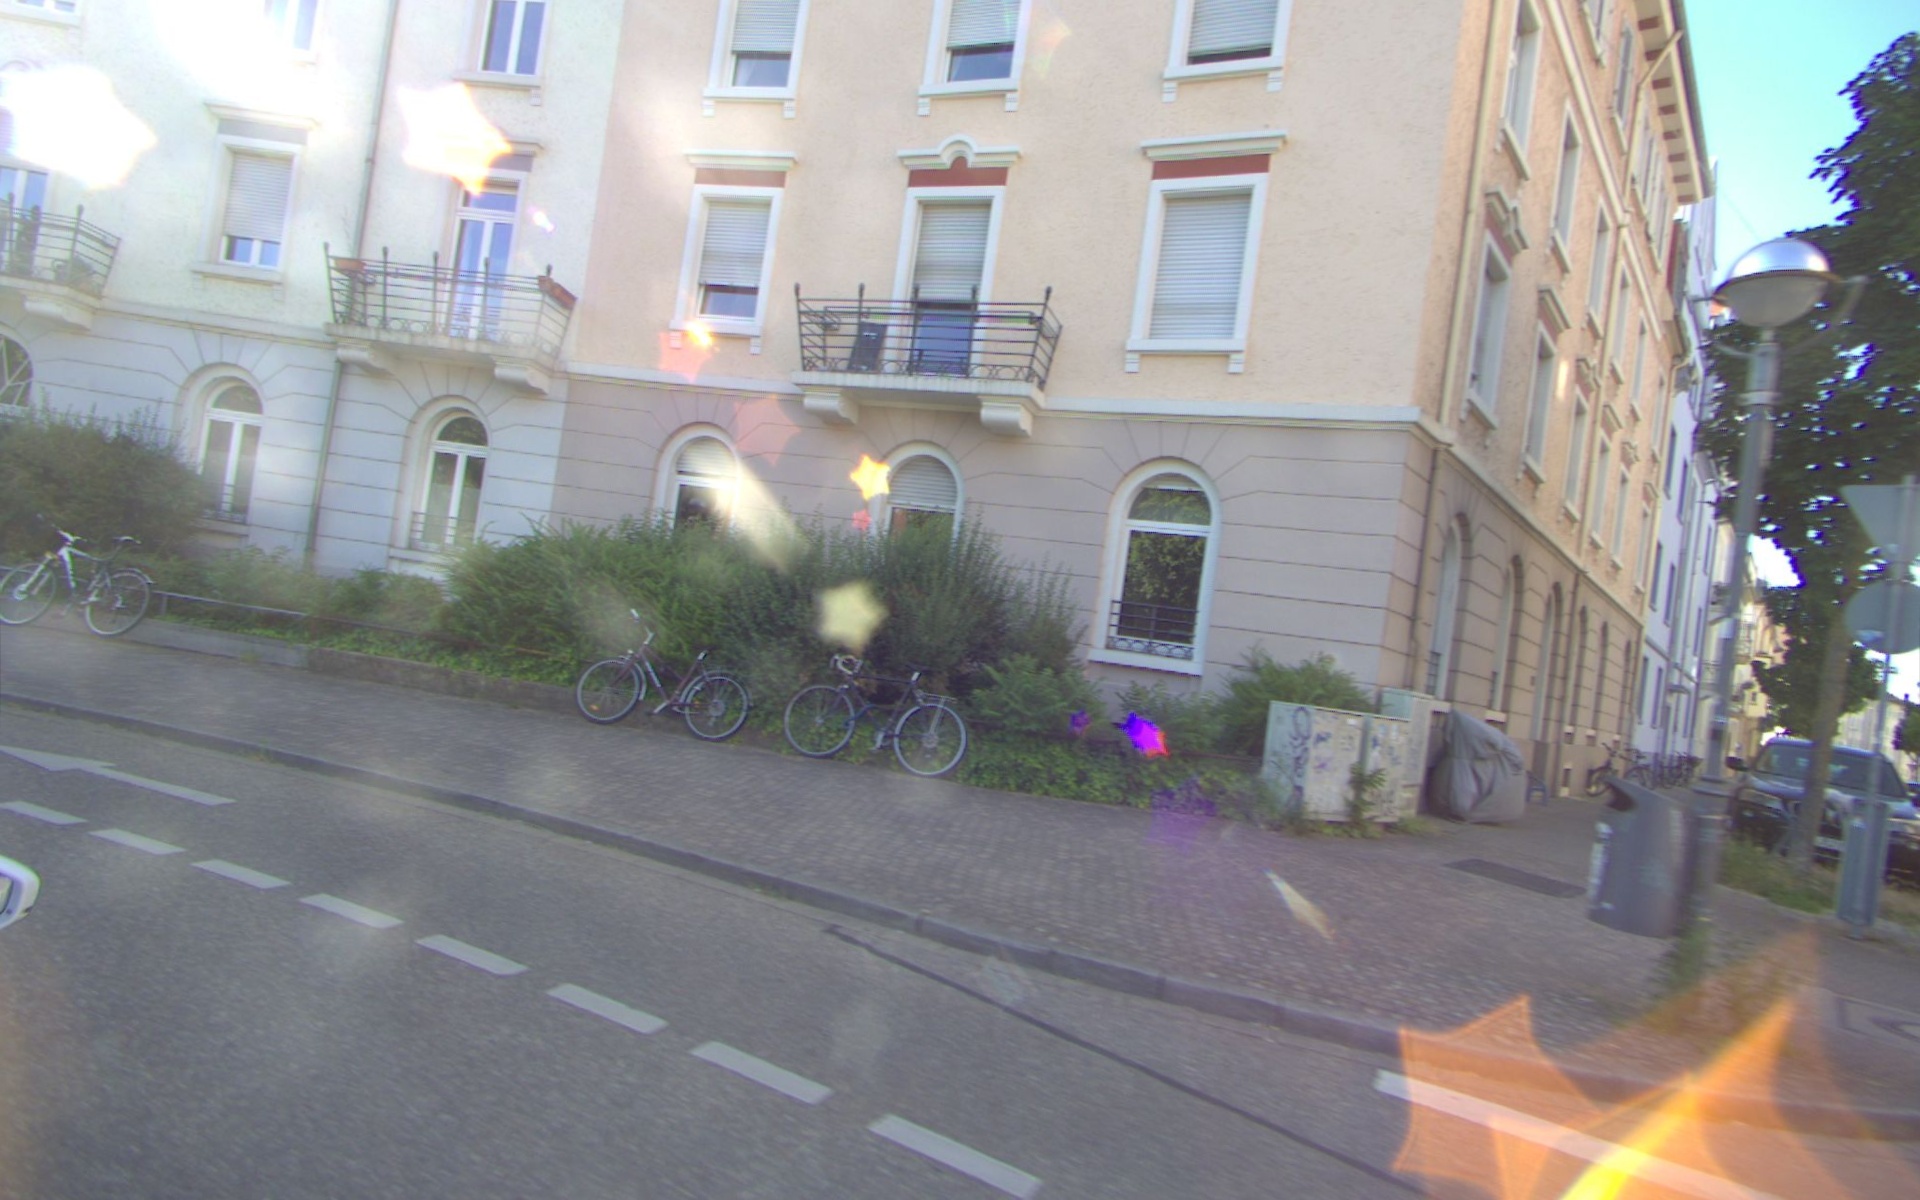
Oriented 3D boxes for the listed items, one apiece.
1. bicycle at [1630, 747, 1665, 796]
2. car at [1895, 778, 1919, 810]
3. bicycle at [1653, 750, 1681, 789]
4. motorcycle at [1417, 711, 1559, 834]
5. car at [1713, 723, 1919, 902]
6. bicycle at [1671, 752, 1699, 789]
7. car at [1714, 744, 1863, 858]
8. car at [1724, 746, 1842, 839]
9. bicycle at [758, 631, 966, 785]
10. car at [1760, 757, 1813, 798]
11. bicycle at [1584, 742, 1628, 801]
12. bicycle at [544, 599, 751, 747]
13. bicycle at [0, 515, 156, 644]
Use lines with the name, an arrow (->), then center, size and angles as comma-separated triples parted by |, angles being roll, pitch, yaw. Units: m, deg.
bicycle -> 17.485, 4.346, 25.563 | 0.493, 1.120, 1.794 | 7, -3, 39
car -> 50.438, 10.282, 52.969 | 1.617, 1.499, 3.320 | 6, -3, 43
bicycle -> 22.017, 5.267, 31.305 | 0.493, 1.120, 1.794 | 7, -3, 39
motorcycle -> 6.573, 2.106, 12.455 | 0.929, 1.234, 2.145 | 8, -1, 42
car -> 11.101, 2.643, 13.106 | 1.881, 1.660, 4.336 | 6, -3, 38
bicycle -> 24.766, 5.812, 34.353 | 0.557, 1.120, 1.794 | 7, -3, 39
car -> 14.120, 3.355, 17.106 | 1.678, 1.427, 3.649 | 6, -3, 42
car -> 17.557, 4.052, 21.404 | 1.678, 1.502, 3.988 | 6, -3, 42
bicycle -> -0.866, 0.935, 8.982 | 1.654, 1.101, 0.503 | 8, 1, 8
car -> 38.689, 8.309, 47.060 | 1.678, 1.541, 3.755 | 6, -3, 42
bicycle -> 13.754, 3.630, 21.395 | 0.493, 1.120, 1.794 | 7, -3, 39
bicycle -> -2.876, 0.655, 9.306 | 1.654, 1.101, 0.503 | 8, 1, 8
bicycle -> -9.138, -0.216, 10.181 | 1.654, 1.101, 0.503 | 8, 1, 10
